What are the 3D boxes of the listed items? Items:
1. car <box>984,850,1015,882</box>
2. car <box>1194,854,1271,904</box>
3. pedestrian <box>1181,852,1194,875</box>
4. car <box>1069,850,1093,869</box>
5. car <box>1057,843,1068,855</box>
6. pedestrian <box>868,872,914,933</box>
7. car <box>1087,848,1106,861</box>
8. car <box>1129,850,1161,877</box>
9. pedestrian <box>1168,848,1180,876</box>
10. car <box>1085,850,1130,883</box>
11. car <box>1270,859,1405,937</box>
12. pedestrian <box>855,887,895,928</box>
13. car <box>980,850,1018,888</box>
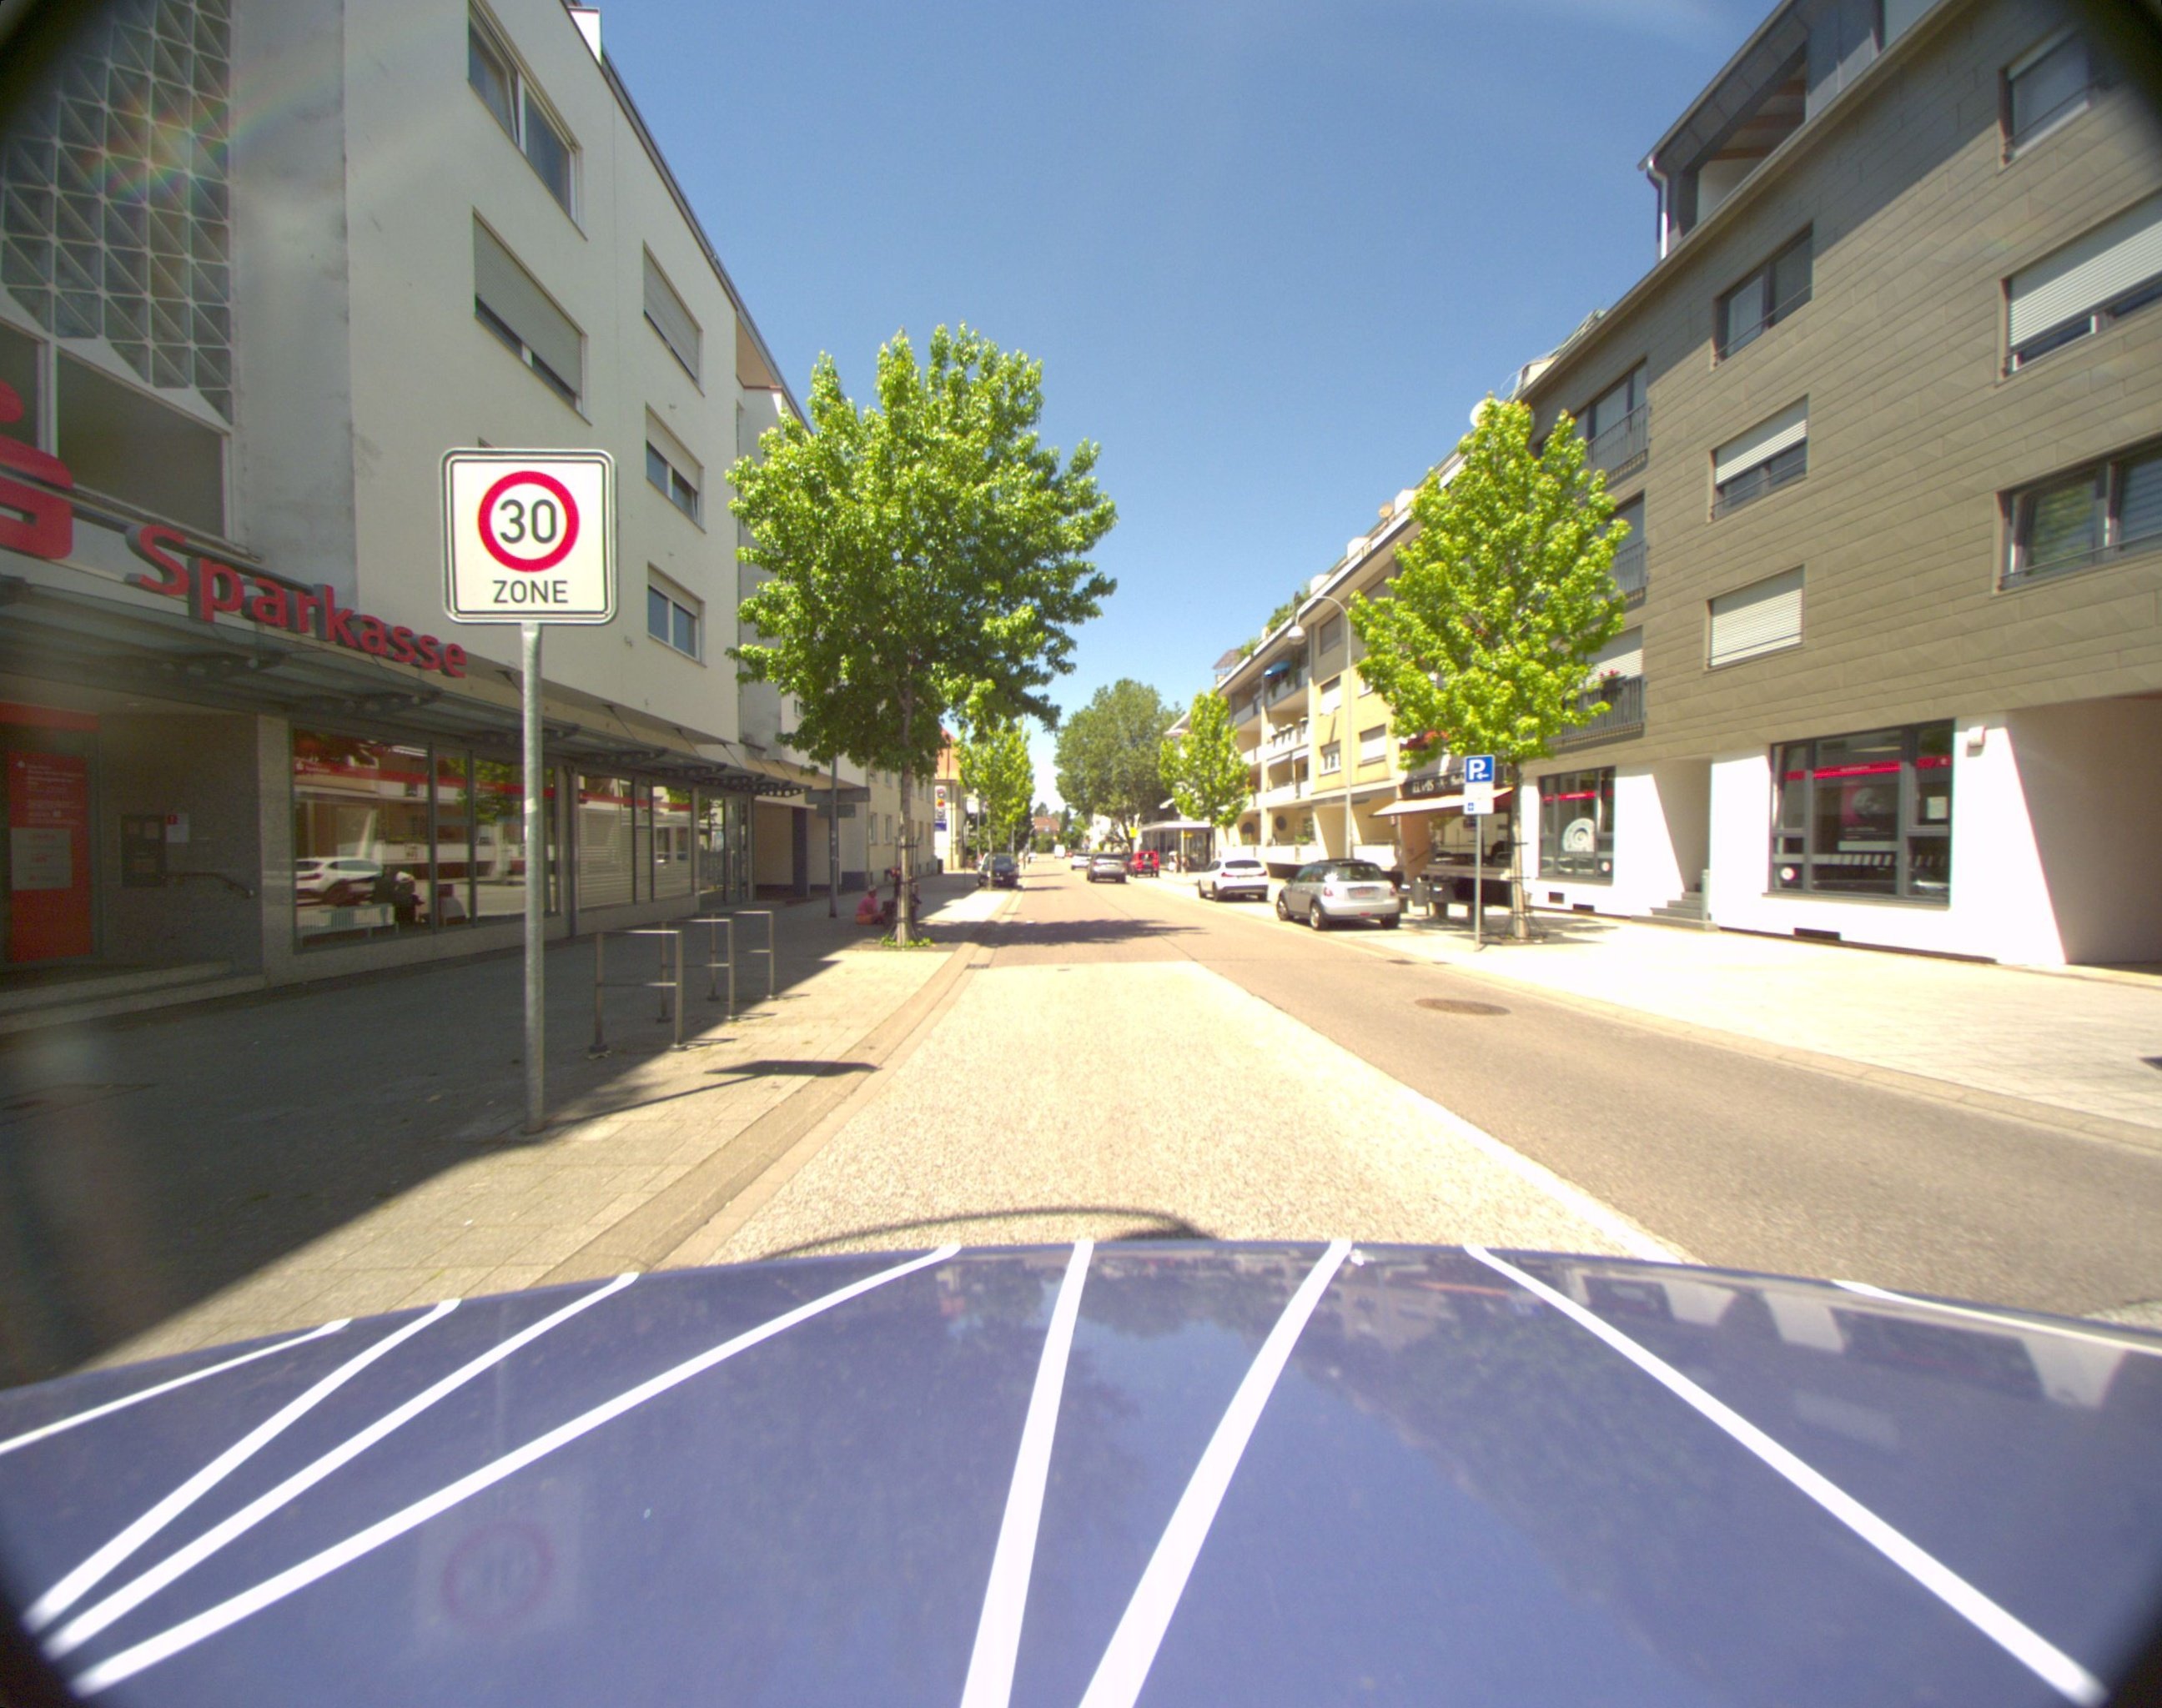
[{"bbox_3d":[-4.641,0.641,43.476,1.693,1.712,4.131,0,0,-5],"label":"car"},{"bbox_3d":[5.299,0.814,27.126,1.700,1.583,4.298,-2,0,-2],"label":"car"},{"bbox_3d":[7.030,0.635,50.048,0.778,1.490,0.697,0,1,3],"label":"pedestrian"},{"bbox_3d":[-0.019,0.494,67.019,1.776,1.623,4.297,0,0,-4],"label":"car"},{"bbox_3d":[-3.739,-1.000,155.597,2.232,2.452,5.247,0,0,-1],"label":"car"},{"bbox_3d":[-3.979,1.010,15.943,0.761,1.233,0.538,1,1,12],"label":"pedestrian"},{"bbox_3d":[1.747,0.076,88.600,1.999,1.499,3.999,0,0,-2],"label":"car"},{"bbox_3d":[4.203,0.616,50.532,1.645,1.652,3.369,-2,1,-2],"label":"car"},{"bbox_3d":[6.062,0.531,49.522,0.667,1.794,0.686,0,1,12],"label":"pedestrian"},{"bbox_3d":[1.451,0.670,43.409,1.906,1.744,4.754,1,0,-6],"label":"car"},{"bbox_3d":[5.448,0.861,16.585,1.626,1.465,3.547,0,0,-2],"label":"car"},{"bbox_3d":[-4.522,1.167,16.690,0.679,0.847,0.538,1,1,12],"label":"pedestrian"},{"bbox_3d":[-4.043,0.685,37.720,1.694,1.712,3.997,2,0,-6],"label":"car"}]
